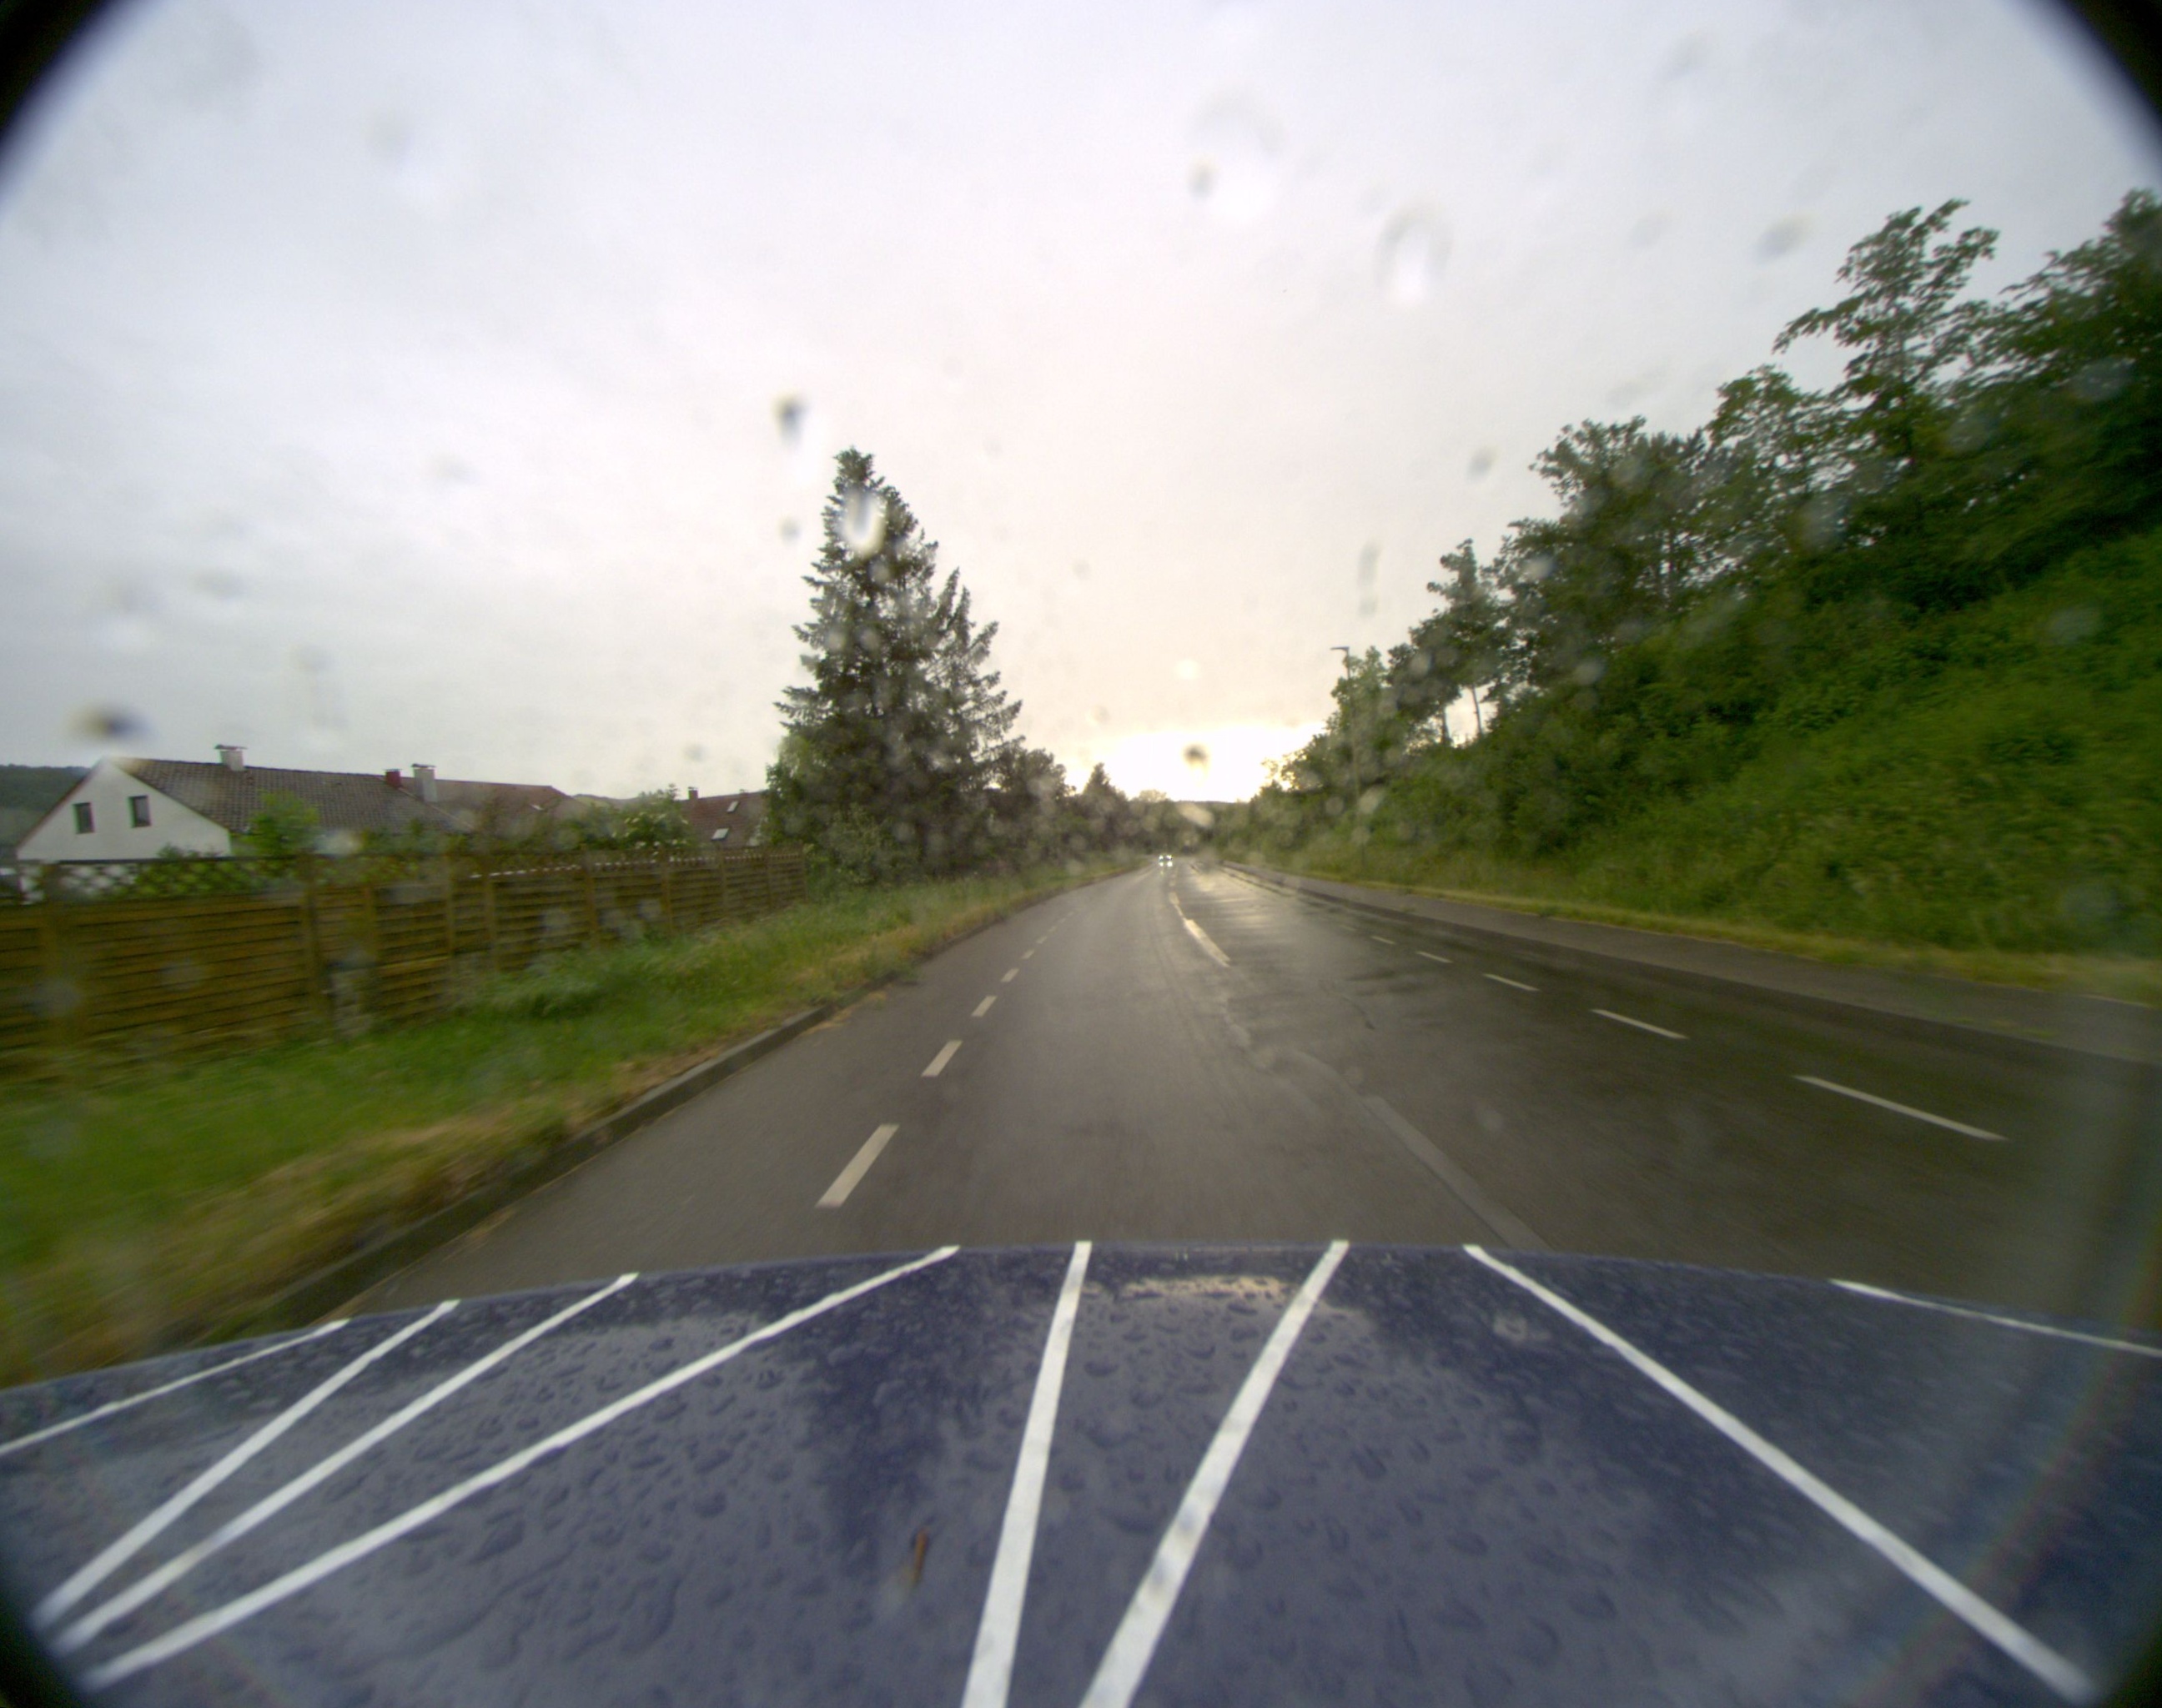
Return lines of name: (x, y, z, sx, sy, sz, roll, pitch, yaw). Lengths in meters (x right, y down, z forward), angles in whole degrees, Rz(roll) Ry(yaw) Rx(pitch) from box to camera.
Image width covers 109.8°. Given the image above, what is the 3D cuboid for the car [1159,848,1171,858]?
car: (14.023, -0.225, 127.163, 1.879, 1.596, 4.001, -2, 0, 4)
